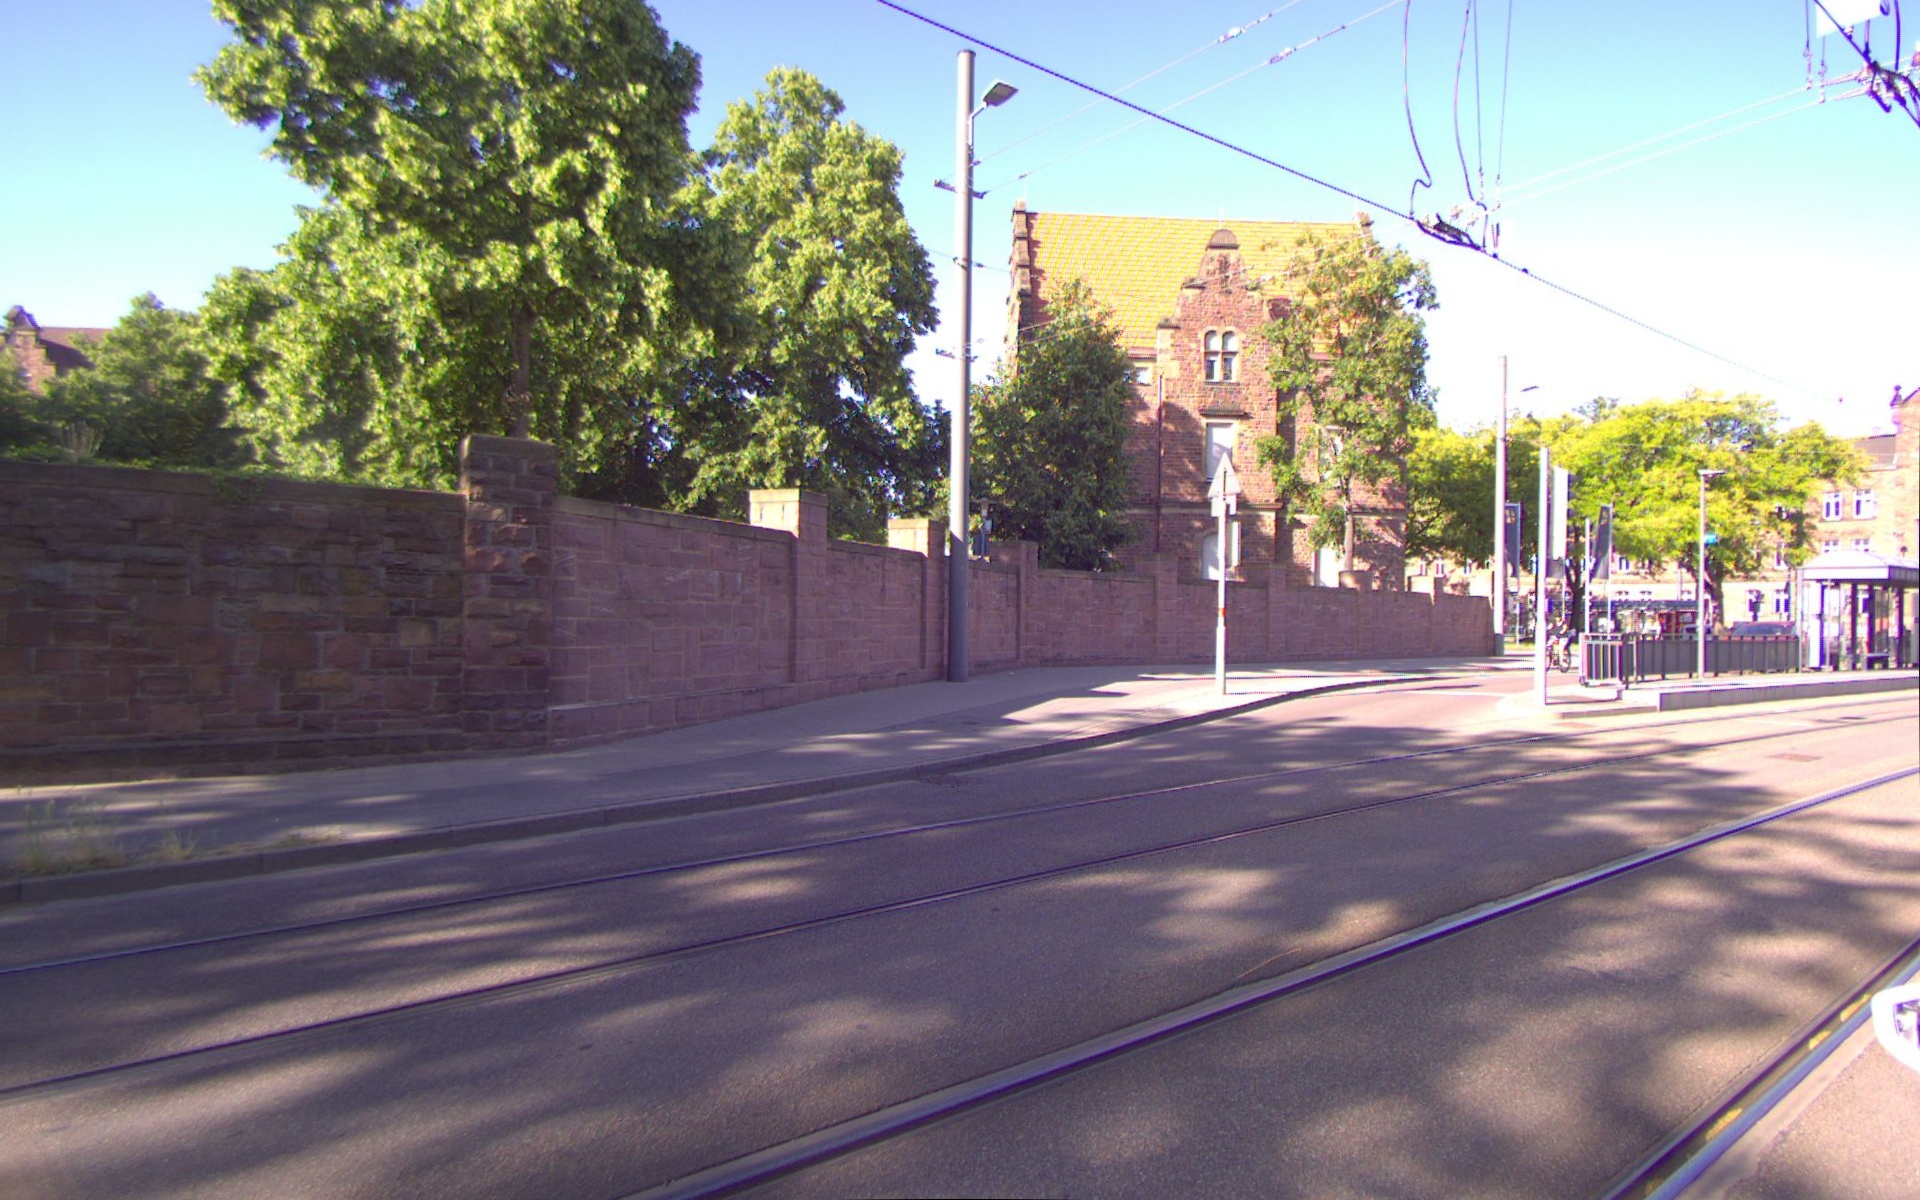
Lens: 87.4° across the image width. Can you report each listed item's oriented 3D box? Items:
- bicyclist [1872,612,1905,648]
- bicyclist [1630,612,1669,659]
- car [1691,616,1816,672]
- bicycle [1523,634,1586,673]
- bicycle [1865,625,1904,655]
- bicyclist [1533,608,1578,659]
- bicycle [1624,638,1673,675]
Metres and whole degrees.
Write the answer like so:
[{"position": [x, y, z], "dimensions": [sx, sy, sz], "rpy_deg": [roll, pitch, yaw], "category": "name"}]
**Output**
[{"position": [40.882, 1.320, 44.209], "dimensions": [1.333, 1.557, 0.756], "rpy_deg": [1, -1, -32], "category": "bicyclist"}, {"position": [22.511, 1.154, 32.798], "dimensions": [1.140, 1.478, 0.649], "rpy_deg": [1, 0, -33], "category": "bicyclist"}, {"position": [24.743, 1.338, 31.288], "dimensions": [4.313, 1.628, 1.807], "rpy_deg": [1, -1, -33], "category": "car"}, {"position": [17.457, 1.564, 29.496], "dimensions": [2.039, 1.103, 0.681], "rpy_deg": [1, 0, -30], "category": "bicycle"}, {"position": [40.395, 1.745, 43.896], "dimensions": [2.066, 1.247, 0.772], "rpy_deg": [1, 0, -33], "category": "bicycle"}, {"position": [17.486, 0.979, 29.513], "dimensions": [1.138, 1.478, 0.650], "rpy_deg": [1, 0, -30], "category": "bicyclist"}, {"position": [22.484, 1.862, 32.789], "dimensions": [1.836, 1.102, 0.680], "rpy_deg": [6, -5, -33], "category": "bicycle"}]
